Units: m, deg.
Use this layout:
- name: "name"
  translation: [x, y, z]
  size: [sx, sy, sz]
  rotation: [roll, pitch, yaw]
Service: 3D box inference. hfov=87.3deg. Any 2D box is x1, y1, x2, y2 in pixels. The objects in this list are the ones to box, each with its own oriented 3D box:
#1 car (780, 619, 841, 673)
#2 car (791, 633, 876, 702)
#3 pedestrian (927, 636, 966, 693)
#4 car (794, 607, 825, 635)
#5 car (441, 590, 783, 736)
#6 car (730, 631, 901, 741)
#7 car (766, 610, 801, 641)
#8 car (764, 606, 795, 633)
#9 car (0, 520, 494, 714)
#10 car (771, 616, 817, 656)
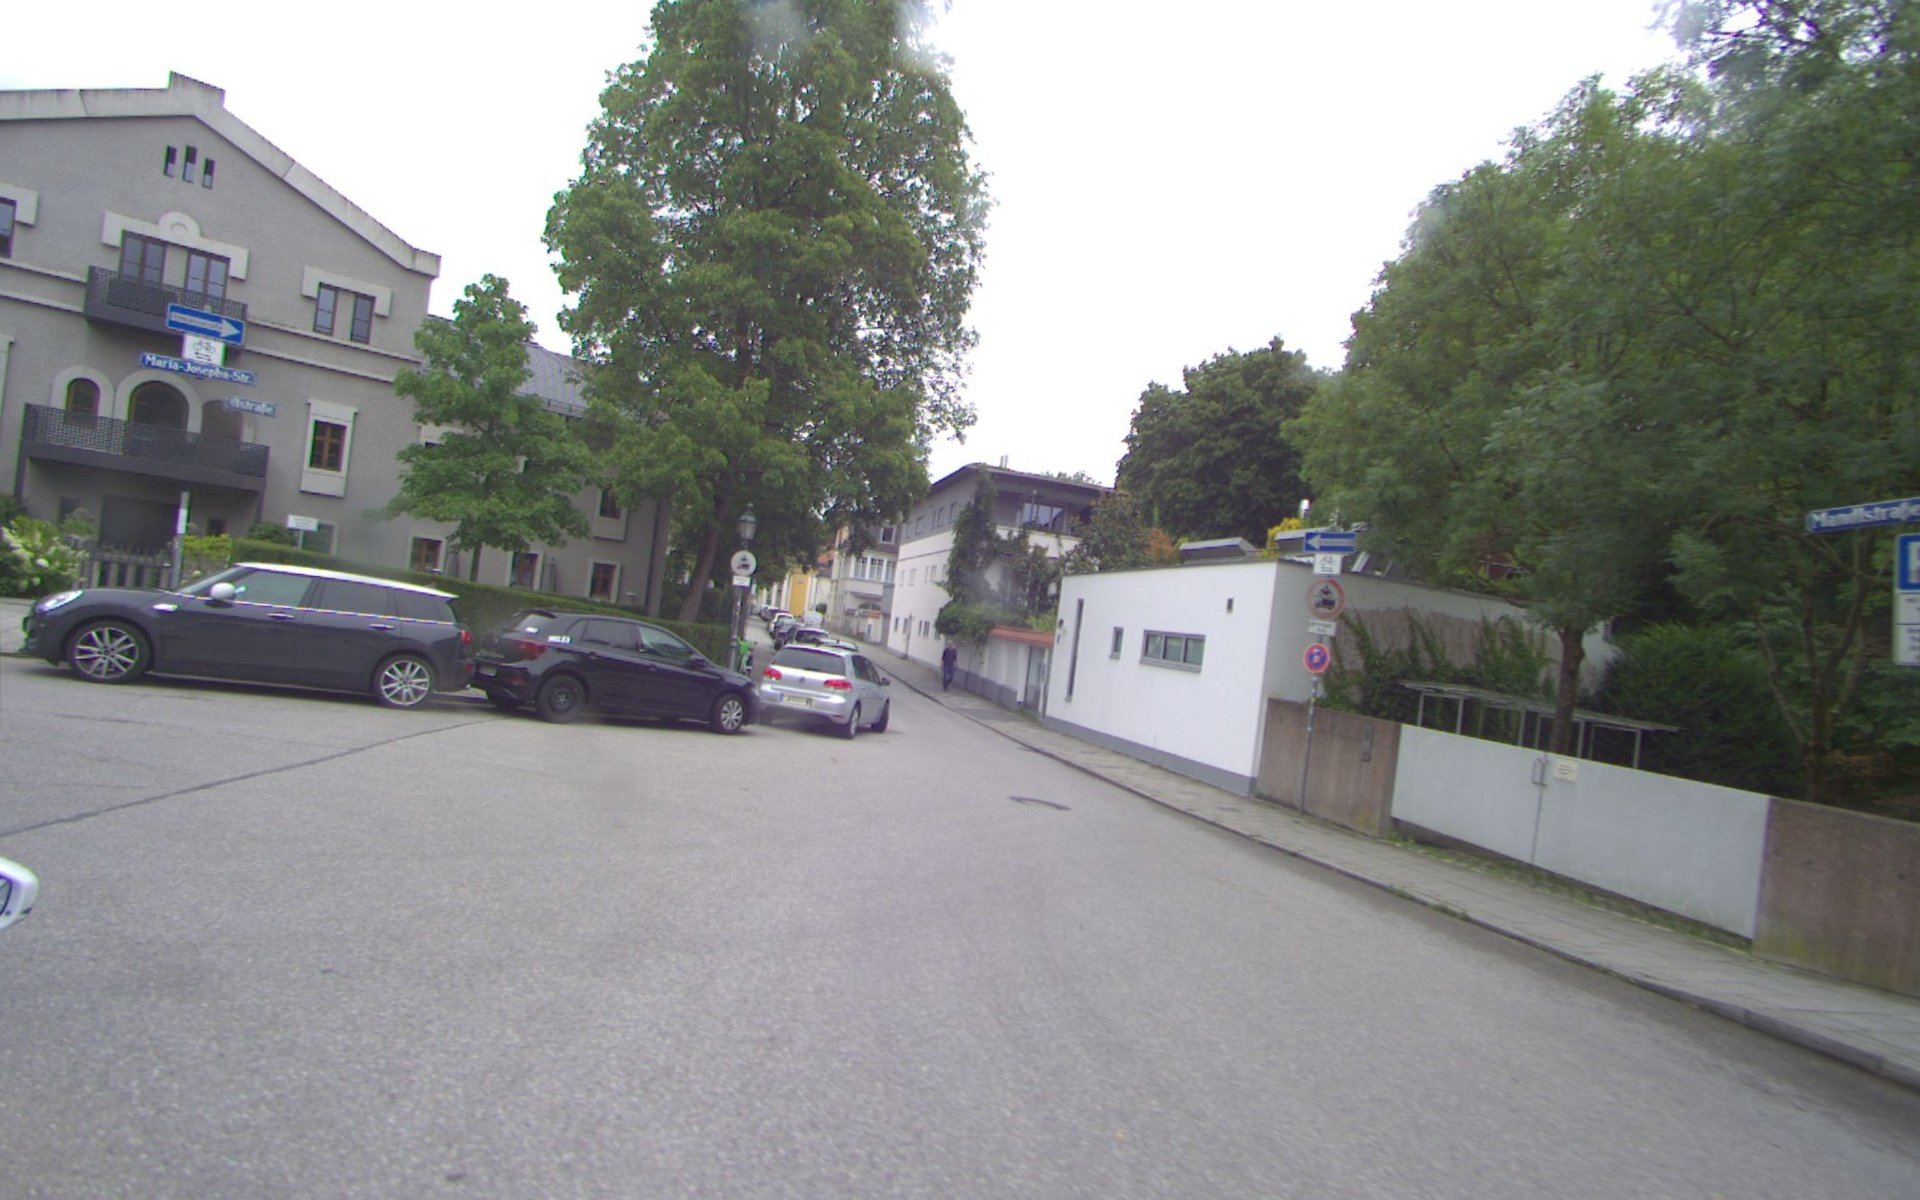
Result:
- name: "car"
  translation: [-5.908, 1.767, 39.433]
  size: [1.911, 1.681, 4.006]
  rotation: [9, -2, -12]
- name: "car"
  translation: [-3.719, 1.889, 28.964]
  size: [1.911, 1.463, 4.006]
  rotation: [9, -2, -12]
- name: "pedestrian"
  translation: [-0.506, 2.388, 37.306]
  size: [0.937, 1.954, 1.229]
  rotation: [8, -1, -14]
- name: "car"
  translation: [-12.569, 1.739, 83.976]
  size: [1.968, 2.036, 4.170]
  rotation: [8, -2, -13]
- name: "car"
  translation: [-4.728, 0.936, 14.085]
  size: [1.873, 1.461, 4.001]
  rotation: [4, -6, 43]
- name: "car"
  translation: [-2.473, 1.552, 18.371]
  size: [1.905, 1.462, 4.022]
  rotation: [9, -3, 7]
- name: "car"
  translation: [-11.706, 1.658, 66.576]
  size: [1.911, 1.681, 4.006]
  rotation: [9, -2, -12]
- name: "car"
  translation: [-13.634, 1.426, 75.773]
  size: [1.911, 1.681, 4.006]
  rotation: [9, -2, -12]
- name: "car"
  translation: [-7.850, 0.282, 11.507]
  size: [4.231, 1.462, 1.882]
  rotation: [10, -5, -33]
- name: "car"
  translation: [-8.607, 1.828, 51.922]
  size: [1.911, 1.681, 4.006]
  rotation: [9, -2, -12]
